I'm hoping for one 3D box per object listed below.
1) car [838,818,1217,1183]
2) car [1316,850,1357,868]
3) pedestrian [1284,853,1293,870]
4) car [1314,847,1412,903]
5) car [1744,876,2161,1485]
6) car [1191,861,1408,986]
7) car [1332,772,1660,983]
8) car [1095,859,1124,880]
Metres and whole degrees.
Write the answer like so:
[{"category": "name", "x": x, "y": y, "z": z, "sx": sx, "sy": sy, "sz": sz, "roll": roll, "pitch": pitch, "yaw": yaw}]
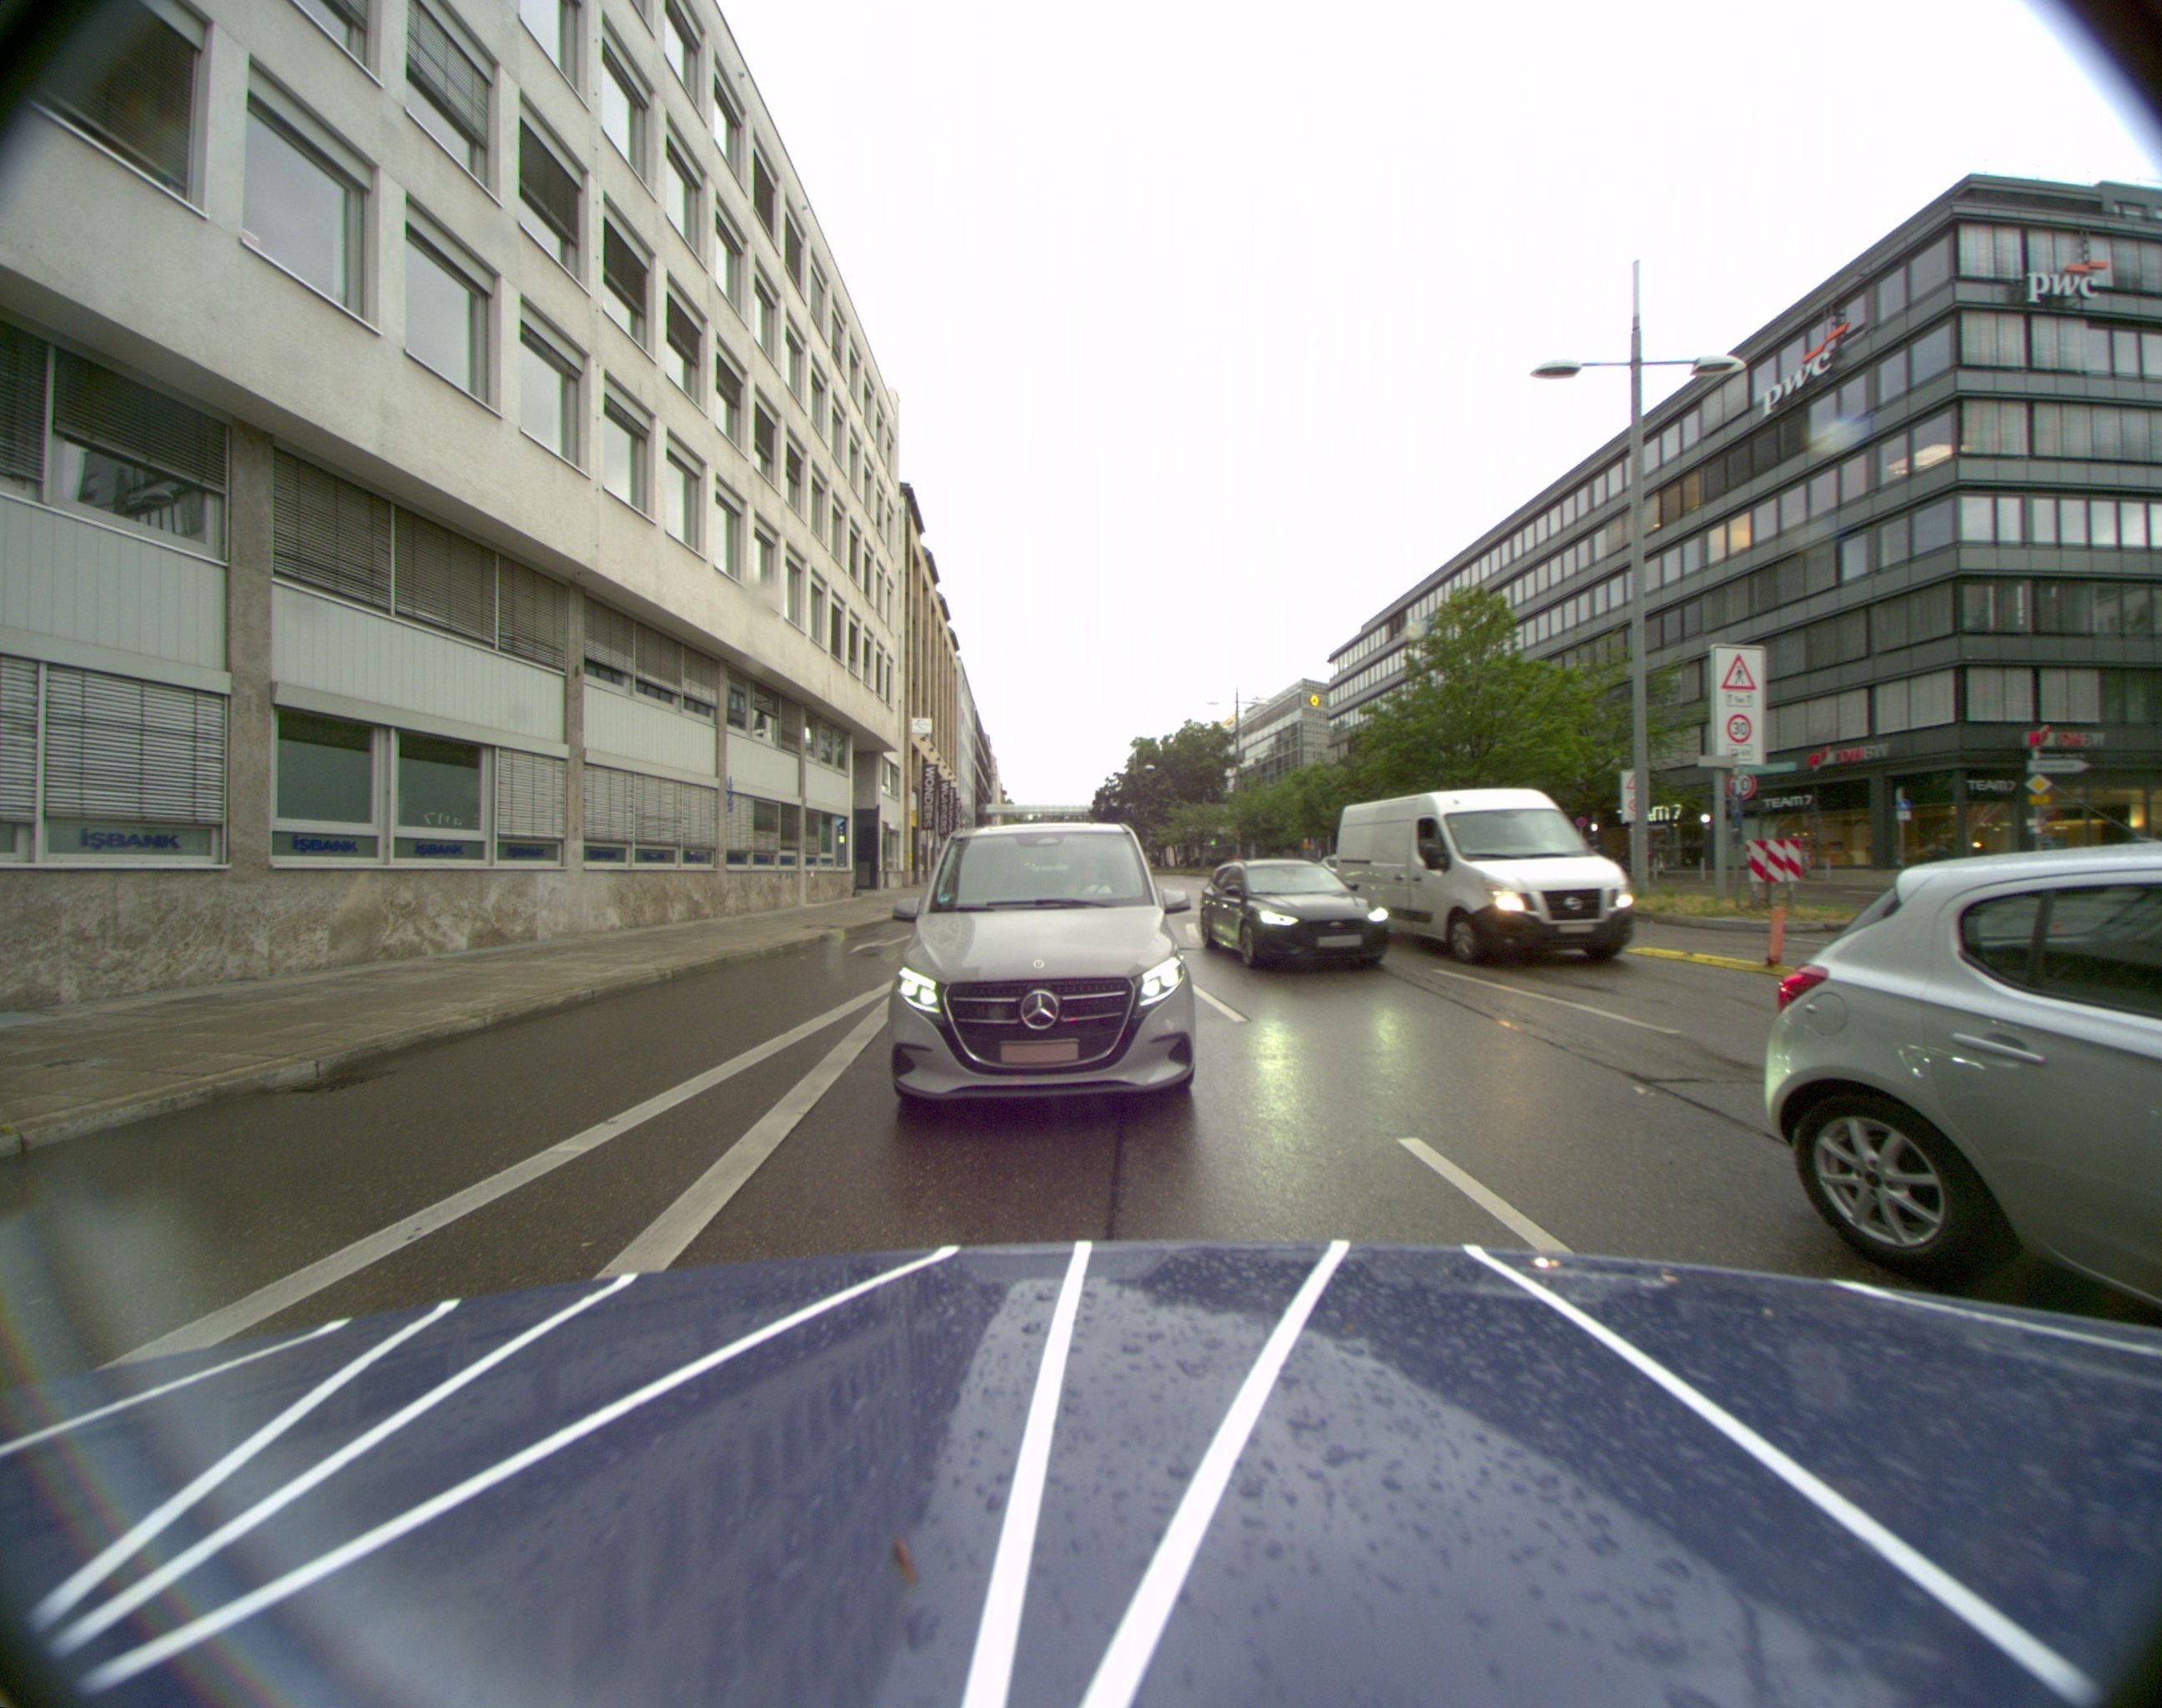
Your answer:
[{"category": "car", "x": -0.296, "y": 0.775, "z": 6.494, "sx": 1.916, "sy": 1.844, "sz": 5.026, "roll": -2, "pitch": 0, "yaw": 0}, {"category": "car", "x": 22.388, "y": 0.455, "z": 66.668, "sx": 1.999, "sy": 1.498, "sz": 3.999, "roll": -2, "pitch": 0, "yaw": -4}, {"category": "pedestrian", "x": 24.637, "y": 0.889, "z": 90.165, "sx": 0.928, "sy": 2.002, "sz": 0.539, "roll": -2, "pitch": 0, "yaw": -1}, {"category": "car", "x": 8.989, "y": 0.637, "z": 24.492, "sx": 1.766, "sy": 1.608, "sz": 3.495, "roll": -2, "pitch": 0, "yaw": -1}, {"category": "car", "x": 3.496, "y": 0.826, "z": 1.096, "sx": 1.652, "sy": 1.427, "sz": 3.875, "roll": -2, "pitch": 0, "yaw": 0}, {"category": "car", "x": 2.949, "y": 0.856, "z": 11.233, "sx": 1.776, "sy": 1.427, "sz": 4.093, "roll": -2, "pitch": 0, "yaw": -4}, {"category": "car", "x": 5.815, "y": 0.288, "z": 11.714, "sx": 1.951, "sy": 2.426, "sz": 5.480, "roll": -2, "pitch": 0, "yaw": 0}, {"category": "car", "x": 1.982, "y": 1.047, "z": 53.695, "sx": 1.776, "sy": 1.372, "sz": 4.094, "roll": -2, "pitch": 0, "yaw": -1}]
